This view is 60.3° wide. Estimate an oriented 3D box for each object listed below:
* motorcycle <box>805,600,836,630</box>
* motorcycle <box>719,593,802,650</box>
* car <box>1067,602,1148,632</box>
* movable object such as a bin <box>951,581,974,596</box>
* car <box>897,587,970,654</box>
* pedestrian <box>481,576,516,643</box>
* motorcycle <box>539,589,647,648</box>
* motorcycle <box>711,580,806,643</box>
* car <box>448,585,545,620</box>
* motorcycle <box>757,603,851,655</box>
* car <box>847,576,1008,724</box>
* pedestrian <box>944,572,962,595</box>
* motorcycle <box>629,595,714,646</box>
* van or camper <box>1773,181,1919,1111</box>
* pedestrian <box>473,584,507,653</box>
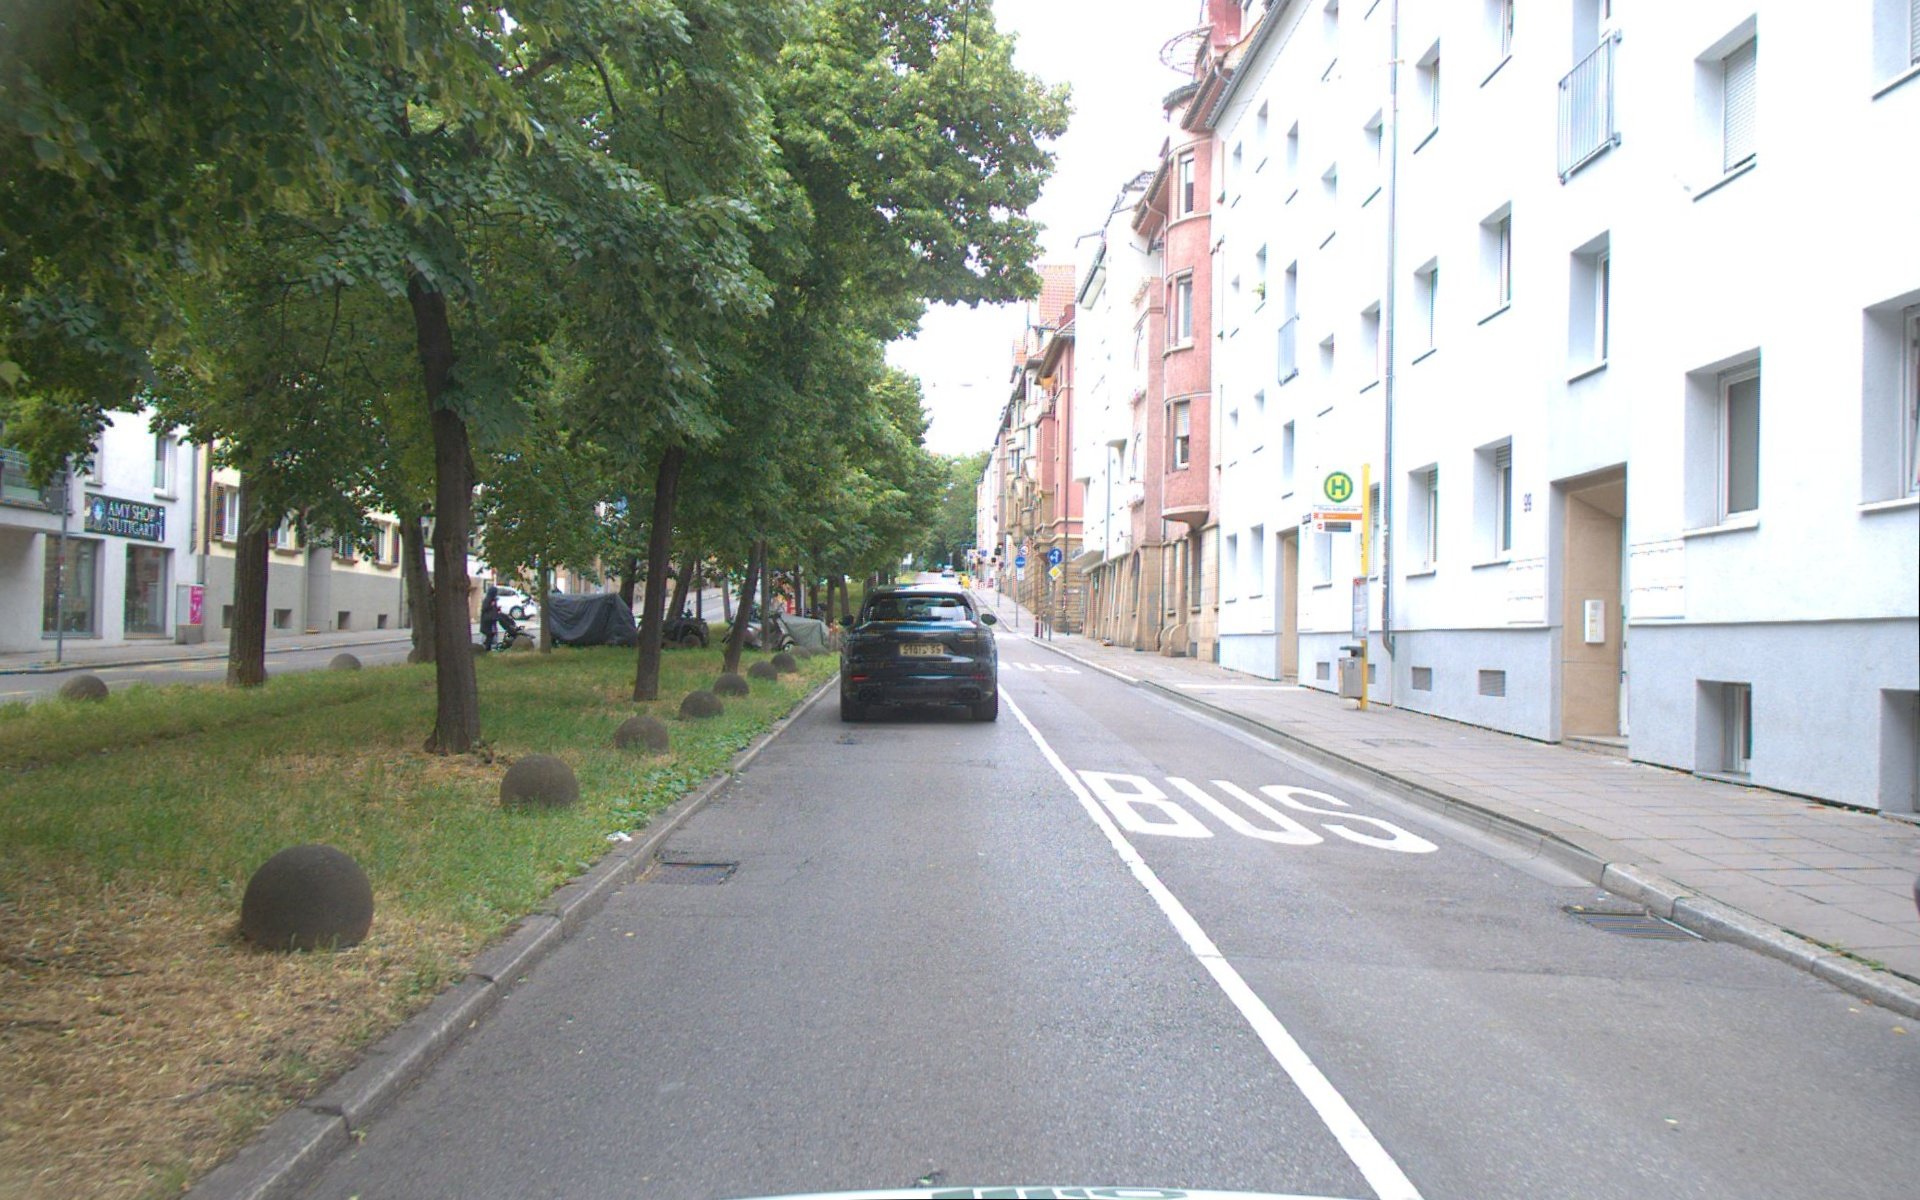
[{"bbox_3d":[-5.603,0.602,66.634,1.041,1.168,2.447,0,0,-1],"label":"motorcycle"},{"bbox_3d":[-4.748,0.518,39.429,1.886,1.319,0.893,1,-2,-3],"label":"motorcycle"},{"bbox_3d":[6.974,0.783,77.748,1.962,1.400,3.981,0,0,38],"label":"car"},{"bbox_3d":[0.215,-1.057,147.010,1.229,1.296,1.821,1,0,-39],"label":"movable object such as a bin"},{"bbox_3d":[-0.748,0.563,47.198,1.953,1.784,3.999,1,0,-1],"label":"car"},{"bbox_3d":[-11.440,0.234,40.978,0.649,1.644,0.579,1,0,1],"label":"pedestrian"},{"bbox_3d":[-8.701,0.429,39.284,2.334,1.340,1.045,1,0,-3],"label":"motorcycle"},{"bbox_3d":[-4.900,0.276,40.345,2.149,1.464,0.874,2,0,1],"label":"motorcycle"},{"bbox_3d":[-21.524,0.113,76.942,3.906,1.523,2.000,1,0,-1],"label":"car"},{"bbox_3d":[-3.945,0.728,42.062,2.308,1.257,1.033,1,1,-3],"label":"motorcycle"},{"bbox_3d":[-0.470,0.588,21.534,1.865,1.695,4.133,1,0,-3],"label":"car"},{"bbox_3d":[-0.641,-1.459,148.193,1.292,2.049,1.006,1,0,-39],"label":"pedestrian"},{"bbox_3d":[-7.426,0.513,42.592,1.986,1.257,0.897,1,0,4],"label":"motorcycle"},{"bbox_3d":[4.274,0.117,2.344,2.430,2.852,7.234,1,-1,-2],"label":"van or camper"},{"bbox_3d":[-11.355,0.440,39.981,0.622,1.641,0.763,2,0,-7],"label":"pedestrian"}]
